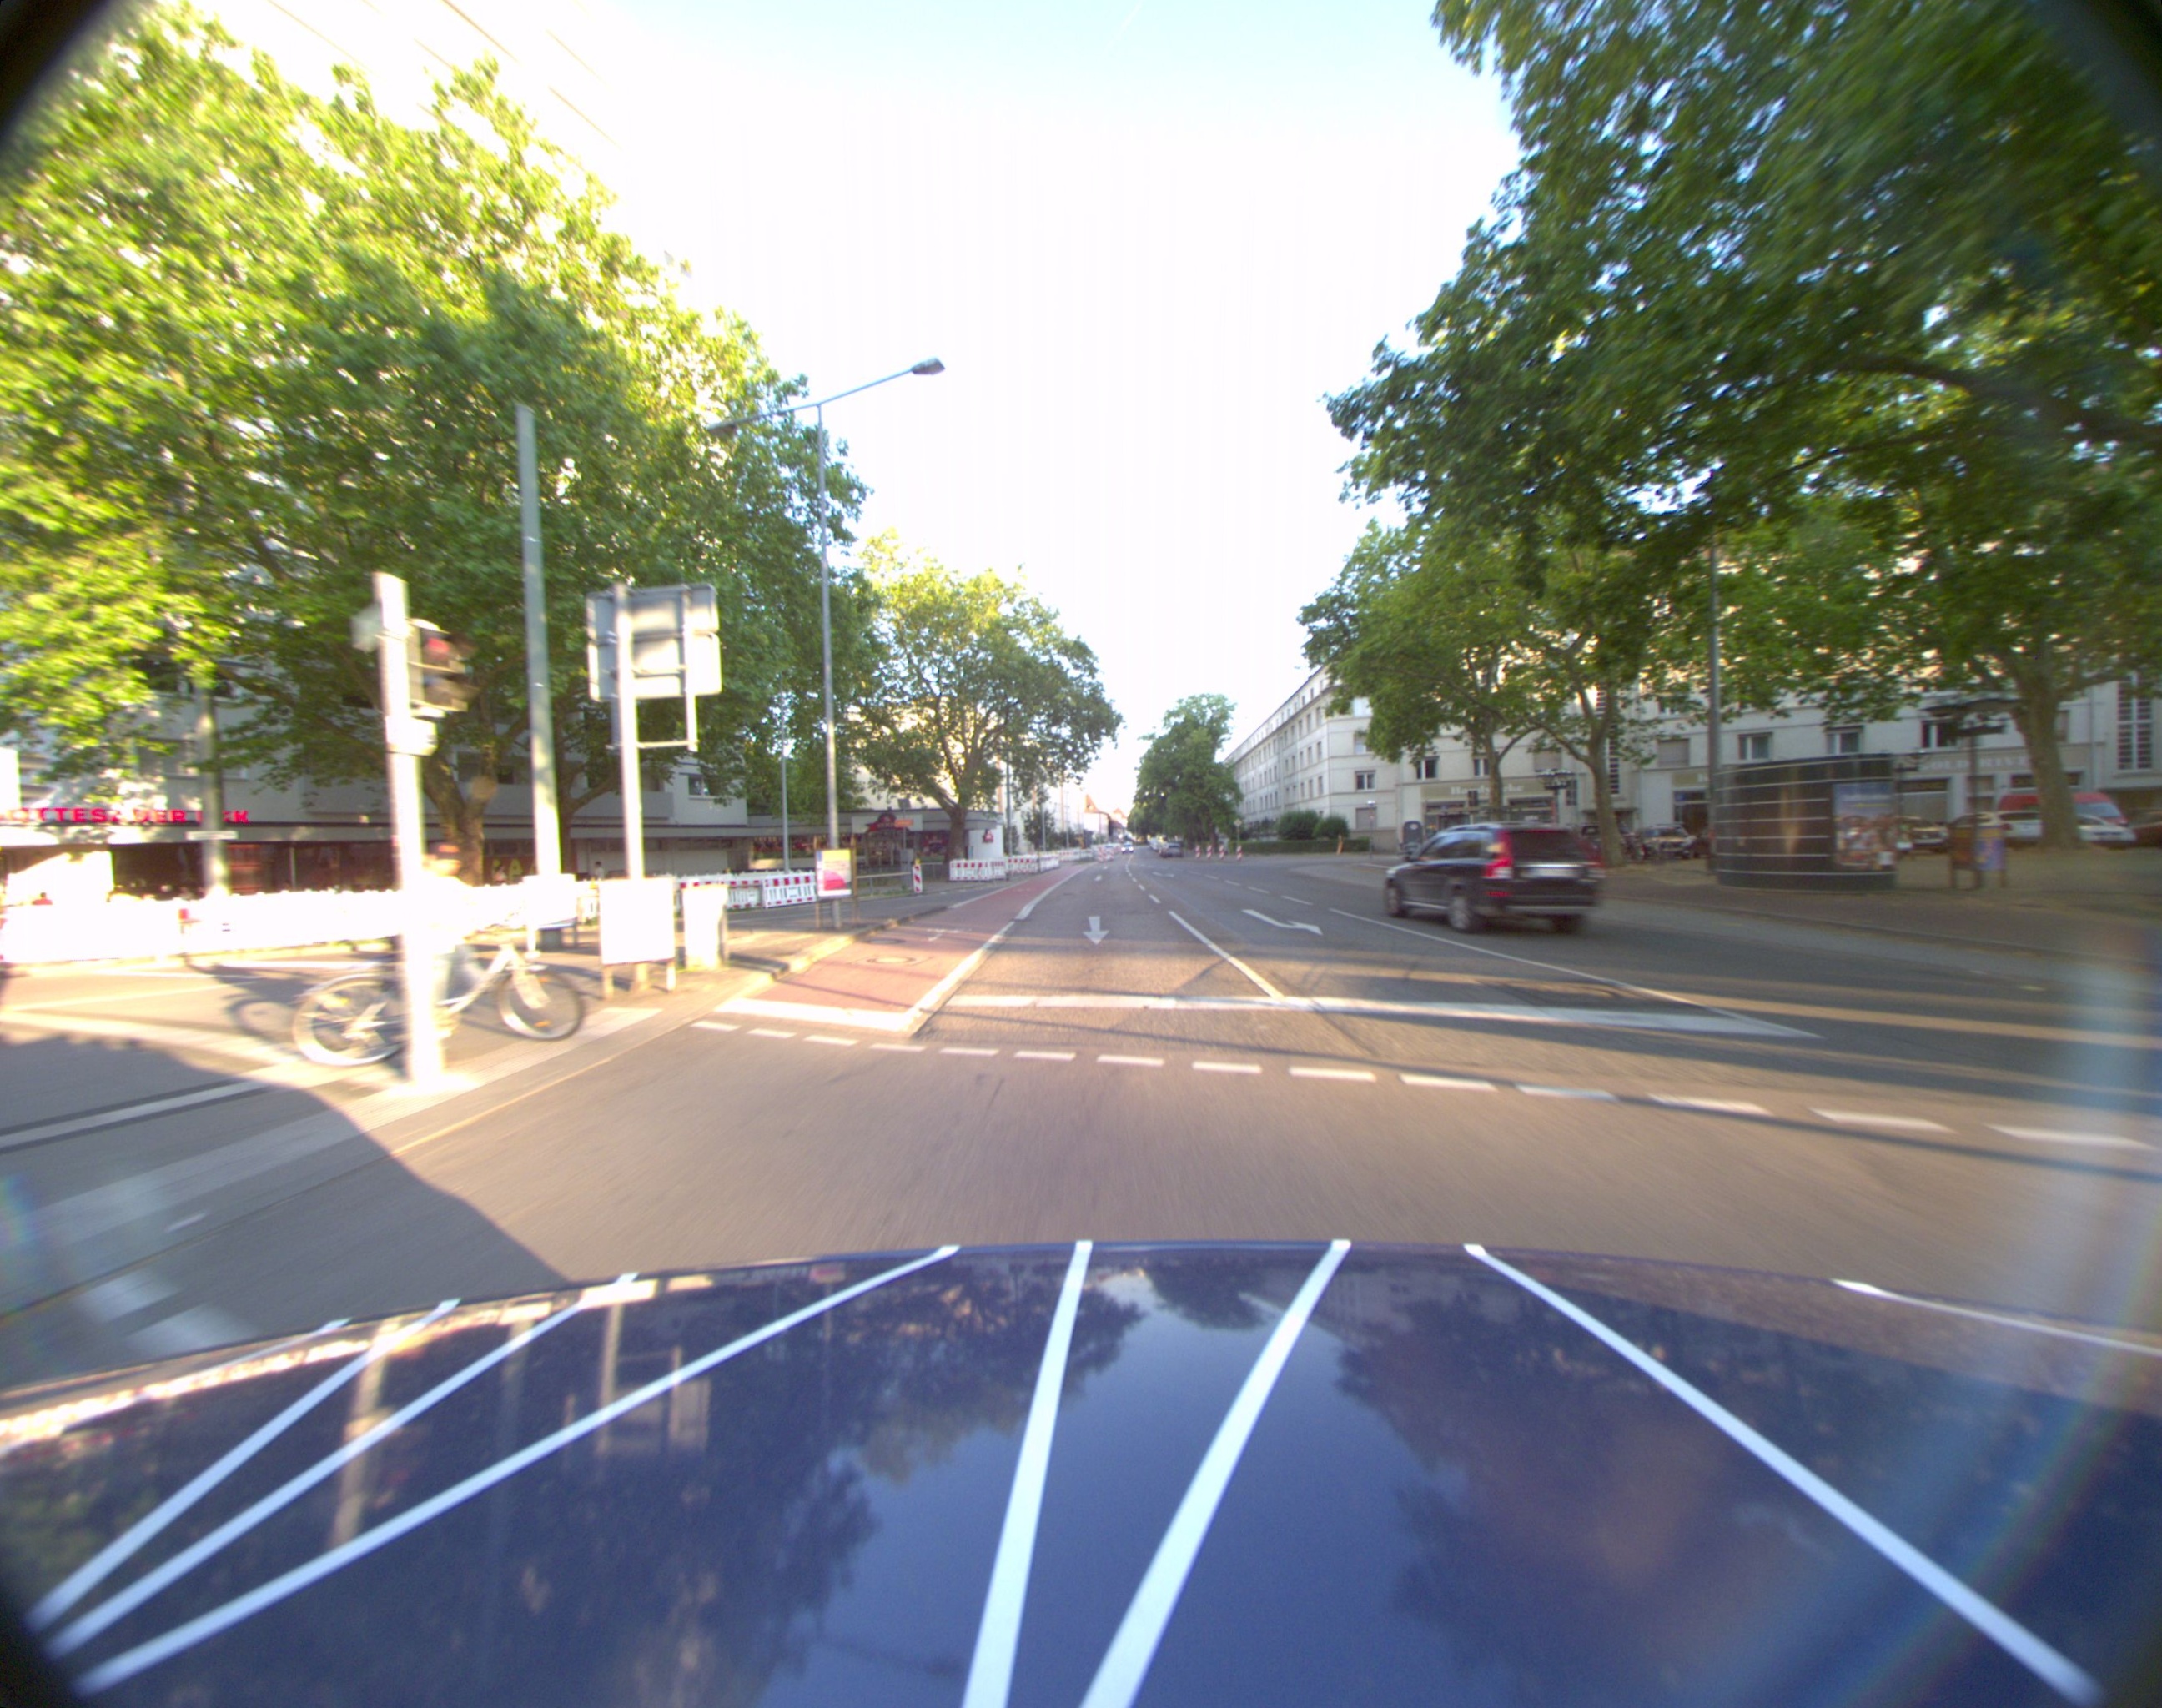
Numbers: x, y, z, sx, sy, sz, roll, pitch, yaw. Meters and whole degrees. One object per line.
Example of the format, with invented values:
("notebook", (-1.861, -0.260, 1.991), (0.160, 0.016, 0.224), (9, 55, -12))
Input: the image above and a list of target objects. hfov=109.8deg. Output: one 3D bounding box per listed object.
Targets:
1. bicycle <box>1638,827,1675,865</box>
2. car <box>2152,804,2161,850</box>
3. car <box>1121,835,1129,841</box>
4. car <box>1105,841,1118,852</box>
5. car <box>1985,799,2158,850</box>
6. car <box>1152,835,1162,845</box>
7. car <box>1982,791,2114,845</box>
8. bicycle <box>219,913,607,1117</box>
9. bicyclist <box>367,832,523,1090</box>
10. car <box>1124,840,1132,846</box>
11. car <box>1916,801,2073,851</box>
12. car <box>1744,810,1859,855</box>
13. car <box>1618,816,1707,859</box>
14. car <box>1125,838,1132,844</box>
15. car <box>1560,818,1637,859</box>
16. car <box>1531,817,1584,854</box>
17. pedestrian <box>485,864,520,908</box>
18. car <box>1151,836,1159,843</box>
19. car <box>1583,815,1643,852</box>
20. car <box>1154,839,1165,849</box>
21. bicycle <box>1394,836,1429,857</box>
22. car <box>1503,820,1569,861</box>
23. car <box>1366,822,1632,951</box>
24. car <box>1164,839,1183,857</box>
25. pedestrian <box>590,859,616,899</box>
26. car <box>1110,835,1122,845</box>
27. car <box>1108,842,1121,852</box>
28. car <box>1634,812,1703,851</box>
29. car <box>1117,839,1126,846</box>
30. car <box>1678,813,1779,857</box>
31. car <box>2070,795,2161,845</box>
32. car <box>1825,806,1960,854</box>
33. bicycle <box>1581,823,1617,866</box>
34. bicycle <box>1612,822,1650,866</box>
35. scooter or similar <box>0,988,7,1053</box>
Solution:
("bicycle", (23.064, -0.348, 30.489), (0.690, 1.376, 2.748), (-2, 2, 27))
("car", (36.927, -0.885, 23.657), (3.752, 1.520, 1.676), (-1, 3, 28))
("car", (11.965, -4.400, 207.769), (1.892, 1.591, 4.260), (-3, 2, 7))
("car", (5.003, -1.225, 124.140), (1.892, 1.591, 4.260), (-3, 2, 7))
("car", (37.873, -1.056, 29.279), (1.995, 1.771, 4.648), (0, 0, 22))
("car", (16.520, -3.067, 165.029), (1.892, 1.868, 4.946), (-3, 2, 7))
("car", (46.885, -1.801, 37.027), (1.995, 2.429, 4.646), (0, 4, 24))
("bicycle", (-4.905, 1.129, 5.813), (2.075, 1.103, 0.627), (-4, 3, -30))
("bicyclist", (-4.840, 0.760, 5.843), (0.700, 1.814, 0.627), (-4, 3, -30))
("car", (13.503, -3.289, 219.430), (1.892, 1.591, 4.260), (-3, 2, 7))
("car", (35.574, -1.028, 29.816), (1.995, 1.771, 4.648), (0, 0, 22))
("car", (30.283, -0.853, 32.139), (1.995, 1.771, 4.648), (0, 0, 22))
("car", (25.898, -0.714, 34.030), (1.995, 1.771, 4.648), (0, 0, 22))
("car", (14.410, -3.836, 228.615), (1.892, 1.591, 4.260), (-3, 2, 7))
("car", (23.799, -0.681, 35.138), (1.995, 1.771, 4.648), (0, 0, 22))
("car", (27.887, -1.121, 44.619), (1.995, 1.945, 4.646), (0, 4, 24))
("pedestrian", (-21.884, 1.197, 28.770), (0.641, 1.580, 0.746), (-3, 2, -4))
("car", (18.409, -3.567, 189.084), (1.892, 1.591, 4.260), (-3, 2, 7))
("car", (30.364, -1.217, 43.487), (1.995, 1.945, 4.646), (0, 4, 24))
("car", (14.513, -1.897, 140.810), (1.892, 1.591, 4.260), (-3, 2, 7))
("bicycle", (20.209, -0.480, 46.456), (1.802, 1.199, 0.648), (-2, 3, 34))
("car", (21.343, -0.610, 35.812), (1.995, 1.771, 4.648), (0, 0, 22))
("car", (6.854, 0.439, 13.207), (1.998, 1.774, 4.797), (-2, 1, 1))
("car", (9.393, -0.652, 77.285), (1.892, 1.591, 4.000), (-3, 2, 7))
("pedestrian", (-19.577, 1.002, 31.114), (0.642, 1.580, 0.745), (-4, 2, -18))
("car", (6.635, -2.672, 144.894), (1.892, 1.651, 4.260), (-3, 2, 7))
("car", (6.022, -1.254, 136.411), (1.892, 1.726, 4.260), (-3, 2, 7))
("car", (32.621, -1.301, 42.329), (1.995, 1.945, 4.646), (0, 4, 24))
("car", (9.651, -2.725, 179.701), (1.892, 1.591, 4.260), (-3, 2, 7))
("car", (28.068, -0.781, 33.112), (1.995, 1.771, 4.648), (0, 0, 22))
("car", (39.900, -1.239, 28.096), (1.995, 1.771, 4.648), (0, 0, 22))
("car", (32.746, -0.916, 30.875), (1.995, 1.771, 4.648), (0, 0, 22))
("bicycle", (21.189, -0.421, 31.120), (0.808, 1.605, 2.748), (-2, 2, 27))
("bicycle", (22.199, -0.435, 30.714), (0.808, 1.605, 2.748), (-2, 2, 27))
("scooter or similar", (-10.079, 1.246, 6.683), (1.231, 1.242, 0.516), (-1, 3, 42))
